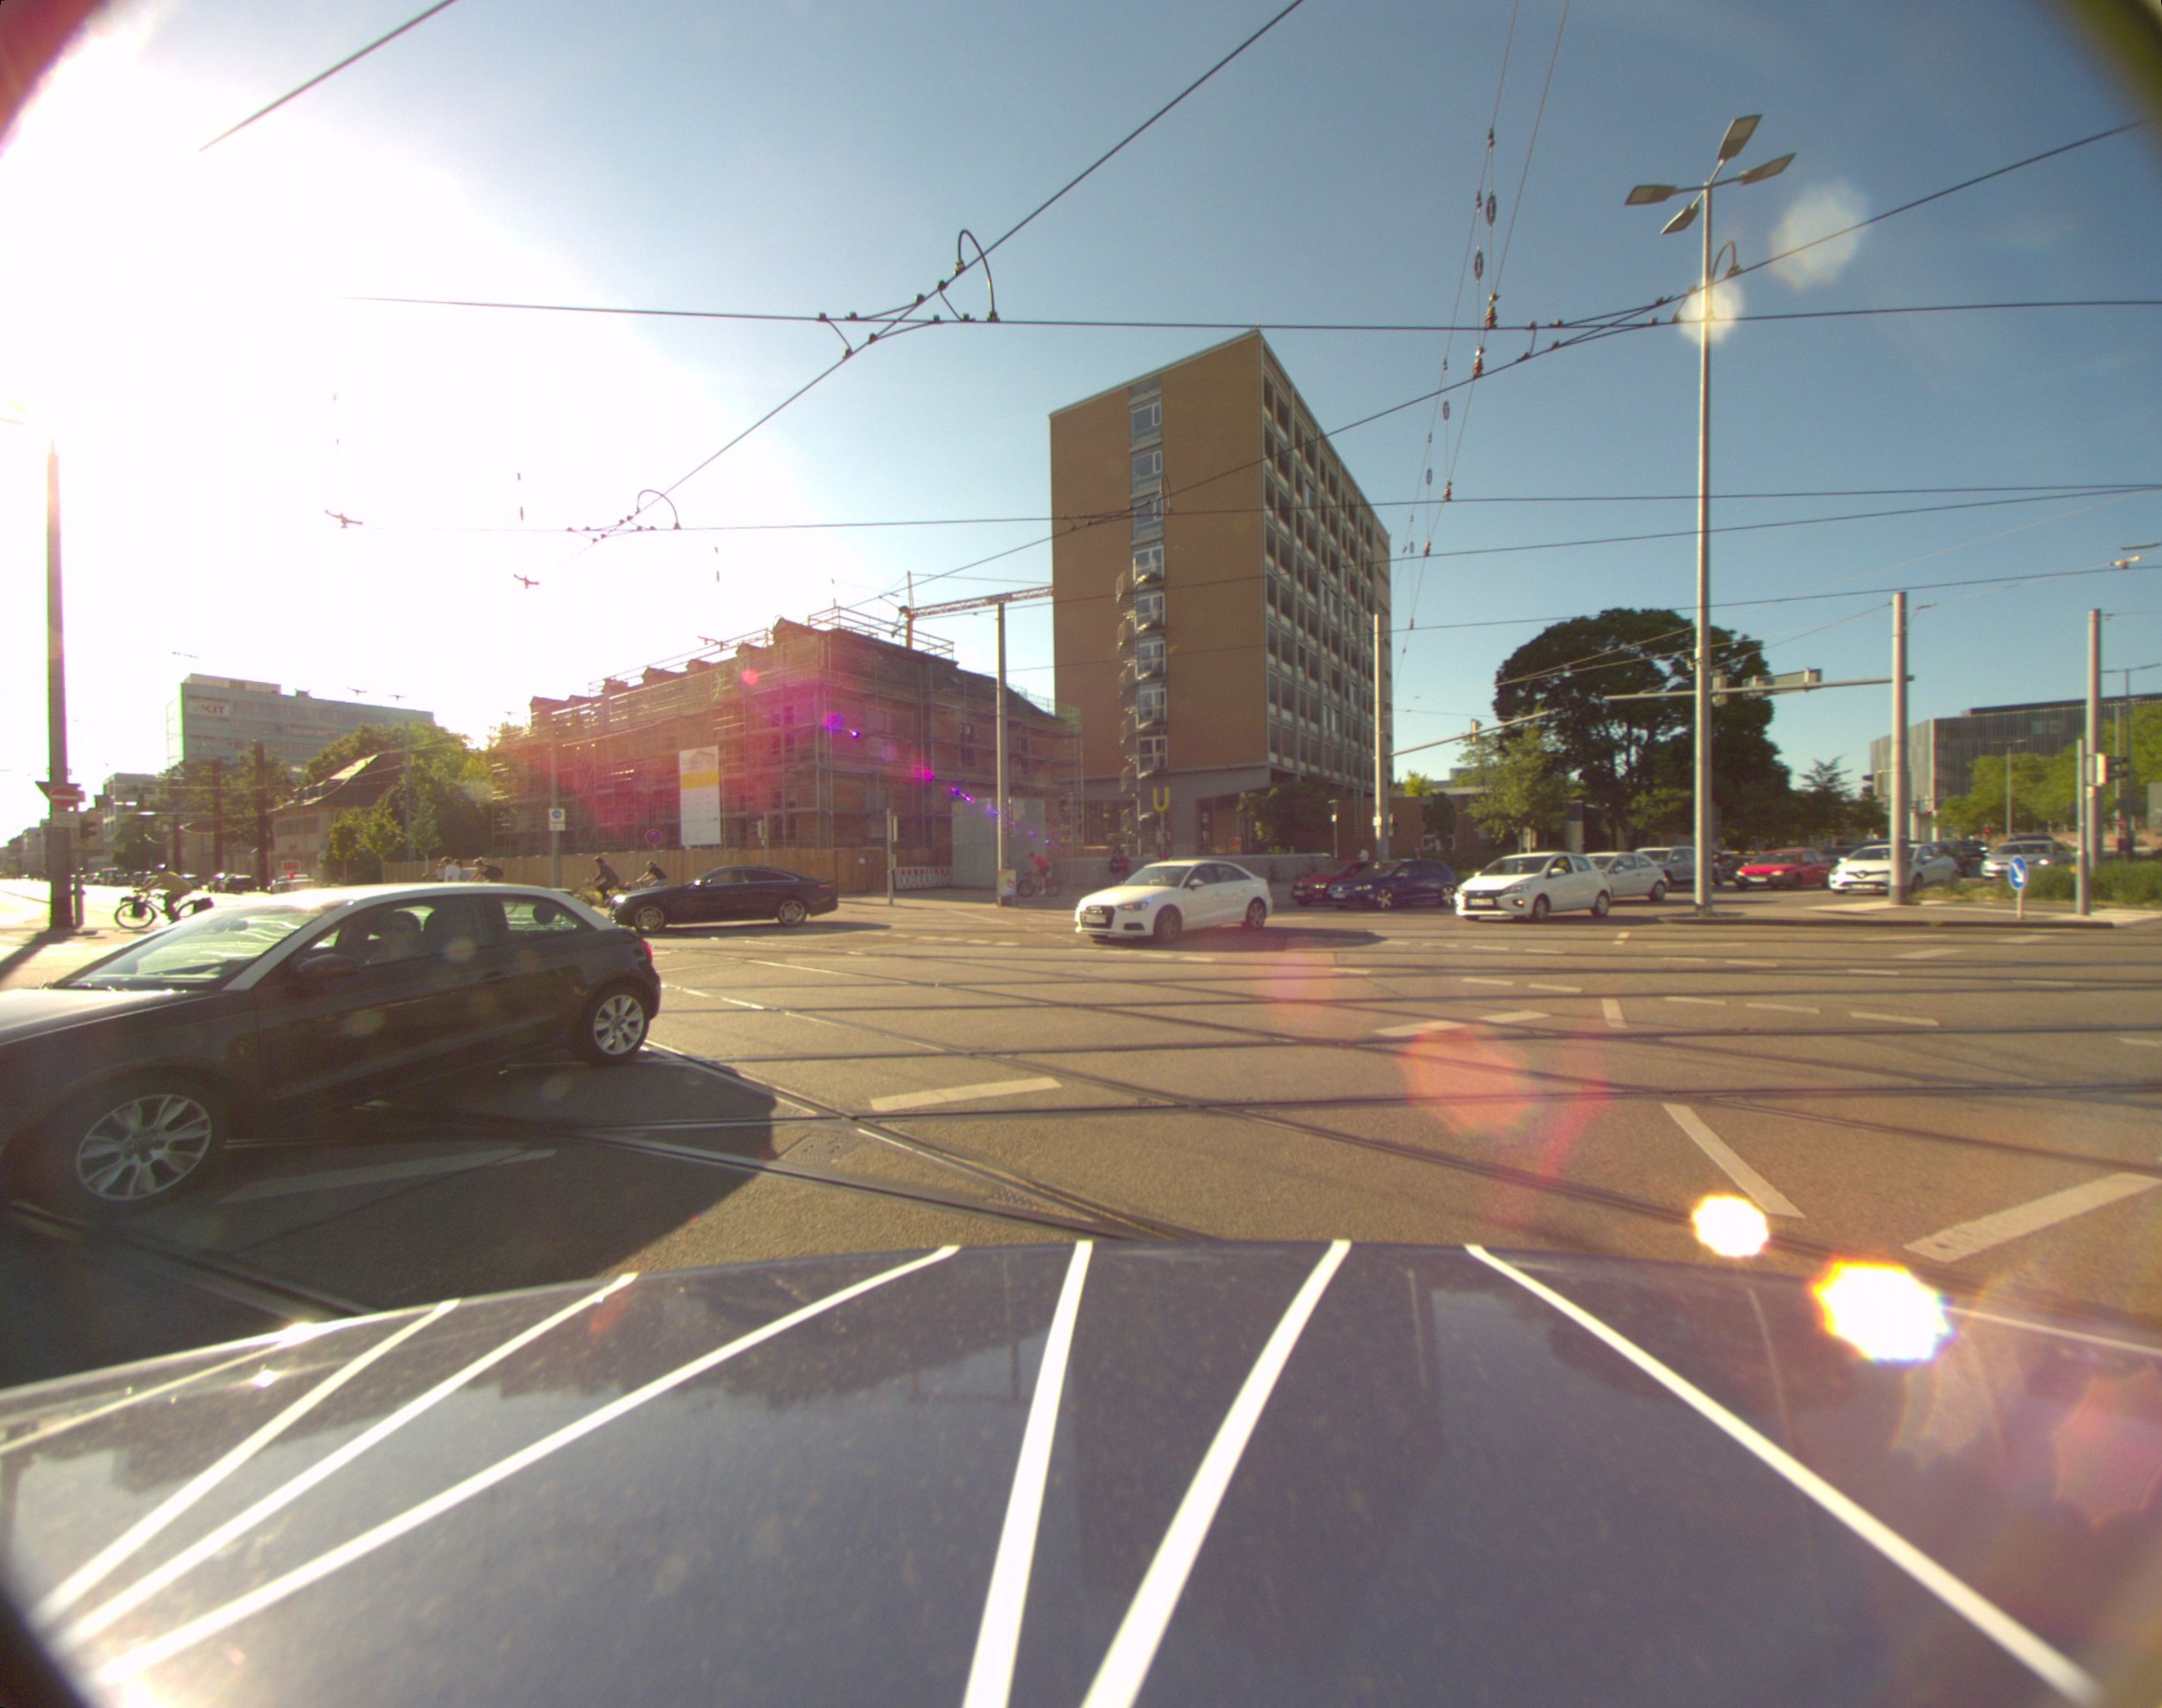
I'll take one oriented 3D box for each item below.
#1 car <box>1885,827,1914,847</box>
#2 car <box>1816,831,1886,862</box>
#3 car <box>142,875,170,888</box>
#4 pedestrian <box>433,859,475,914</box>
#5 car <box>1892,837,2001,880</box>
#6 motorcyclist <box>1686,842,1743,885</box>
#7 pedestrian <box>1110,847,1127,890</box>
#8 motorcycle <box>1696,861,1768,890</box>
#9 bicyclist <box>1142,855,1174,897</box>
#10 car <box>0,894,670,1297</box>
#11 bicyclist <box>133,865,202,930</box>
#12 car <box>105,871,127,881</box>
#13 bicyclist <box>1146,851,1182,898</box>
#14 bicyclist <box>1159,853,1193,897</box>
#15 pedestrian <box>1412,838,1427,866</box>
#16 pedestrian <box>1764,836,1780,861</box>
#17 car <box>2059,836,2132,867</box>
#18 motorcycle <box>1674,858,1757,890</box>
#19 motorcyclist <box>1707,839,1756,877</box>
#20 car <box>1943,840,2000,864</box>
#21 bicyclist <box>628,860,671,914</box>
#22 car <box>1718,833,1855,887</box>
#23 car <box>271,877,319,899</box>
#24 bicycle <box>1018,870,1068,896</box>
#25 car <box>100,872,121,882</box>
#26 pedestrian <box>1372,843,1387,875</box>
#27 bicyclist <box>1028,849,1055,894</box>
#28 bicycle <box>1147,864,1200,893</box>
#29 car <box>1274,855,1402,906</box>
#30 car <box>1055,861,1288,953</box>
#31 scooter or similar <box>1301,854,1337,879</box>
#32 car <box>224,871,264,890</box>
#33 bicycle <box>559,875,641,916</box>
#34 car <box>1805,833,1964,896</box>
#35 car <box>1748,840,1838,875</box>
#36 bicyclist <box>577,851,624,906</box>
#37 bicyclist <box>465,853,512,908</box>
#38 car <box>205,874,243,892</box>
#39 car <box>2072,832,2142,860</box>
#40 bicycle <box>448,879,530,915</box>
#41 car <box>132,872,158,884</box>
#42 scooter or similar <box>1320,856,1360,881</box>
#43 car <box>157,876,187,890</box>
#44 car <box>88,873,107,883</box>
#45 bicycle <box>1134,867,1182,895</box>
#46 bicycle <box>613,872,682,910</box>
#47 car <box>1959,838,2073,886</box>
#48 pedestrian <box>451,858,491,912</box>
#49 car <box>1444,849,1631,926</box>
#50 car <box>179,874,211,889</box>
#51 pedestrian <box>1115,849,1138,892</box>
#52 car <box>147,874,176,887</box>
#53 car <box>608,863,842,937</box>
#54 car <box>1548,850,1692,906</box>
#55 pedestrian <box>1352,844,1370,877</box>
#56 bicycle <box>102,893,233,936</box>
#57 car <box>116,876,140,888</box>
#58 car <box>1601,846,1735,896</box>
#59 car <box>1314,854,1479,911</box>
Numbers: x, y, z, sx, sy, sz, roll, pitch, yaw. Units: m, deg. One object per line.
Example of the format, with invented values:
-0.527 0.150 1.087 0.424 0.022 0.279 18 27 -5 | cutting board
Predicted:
120.648 -2.530 112.070 2.147 2.850 4.980 -1 1 38 | car
44.371 -0.450 43.765 4.006 1.718 1.819 -1 0 -29 | car
-114.324 3.441 93.925 4.008 1.455 1.760 -3 0 34 | car
-21.271 1.098 25.789 0.819 1.837 0.691 -2 -2 3 | pedestrian
36.849 0.173 32.347 4.005 1.673 1.997 -1 -2 -26 | car
25.548 0.401 30.656 1.456 1.657 1.116 -1 -2 -22 | motorcyclist
1.530 0.569 31.073 0.622 1.730 0.665 0 2 -1 | pedestrian
30.066 0.990 35.102 3.236 1.187 1.116 -1 -2 -22 | motorcycle
2.992 0.844 29.494 1.019 1.579 0.692 -2 4 -36 | bicyclist
-4.661 1.042 4.481 1.692 1.380 3.836 -1 0 16 | car
-24.508 1.156 20.403 0.976 1.685 0.766 -1 -1 -30 | bicyclist
-148.705 3.375 117.085 4.008 1.455 1.760 -3 0 34 | car
2.950 0.707 26.912 1.018 1.579 0.692 -1 4 -24 | bicyclist
3.563 0.780 28.501 1.018 1.579 0.692 -1 4 -30 | bicyclist
19.511 -0.118 43.820 0.505 1.625 0.572 -1 -2 -36 | pedestrian
47.244 -0.355 51.930 0.593 1.651 0.564 -1 -2 -29 | pedestrian
58.572 -0.176 43.860 4.289 1.666 1.995 -1 1 -29 | car
25.610 0.809 30.669 3.236 1.187 1.116 -1 -2 -22 | motorcycle
30.084 0.194 35.142 1.456 1.657 1.116 -1 -2 -22 | motorcyclist
69.259 -0.160 59.076 4.714 1.673 1.996 -1 -2 -30 | car
-13.575 1.040 23.912 0.974 1.651 0.648 -2 -2 -3 | bicyclist
24.287 0.208 26.172 4.005 1.673 1.997 -1 -2 -24 | car
-58.022 2.519 56.058 4.008 1.455 1.760 -3 0 34 | car
-1.494 1.139 29.654 1.880 0.965 0.711 1 3 -7 | bicycle
-162.208 3.873 126.991 4.008 1.455 1.760 -3 0 34 | car
15.378 0.250 39.157 0.505 1.625 0.426 -1 -2 -36 | pedestrian
-1.546 0.684 29.619 1.017 1.699 0.693 0 3 -7 | bicyclist
3.471 0.904 28.455 1.883 0.965 0.710 -1 4 -30 | bicycle
8.606 0.841 25.388 4.024 1.455 1.752 -3 1 -29 | car
1.830 0.862 14.247 4.466 1.380 1.821 -1 0 -42 | car
12.333 0.645 39.392 1.704 1.239 0.801 -3 -2 19 | scooter or similar
-73.662 2.339 66.849 4.008 1.455 1.760 -3 0 34 | car
-14.032 1.213 22.204 1.903 1.116 0.648 -2 -2 -13 | bicycle
23.813 0.258 22.508 4.288 1.666 1.996 -1 1 -25 | car
37.461 0.193 39.956 4.714 1.673 1.996 -1 -2 -28 | car
-14.040 0.722 22.219 0.975 1.559 0.648 -2 -2 -13 | bicyclist
-18.551 0.824 23.814 0.976 1.685 0.647 -1 -1 -19 | bicyclist
-78.761 2.634 69.783 4.008 1.455 1.760 -3 0 34 | car
67.185 -0.548 49.747 4.714 1.673 1.996 -1 -2 -28 | car
-18.519 1.335 23.828 1.909 1.021 0.647 -1 -1 -19 | bicycle
-122.004 3.117 99.070 4.008 1.455 1.760 -3 0 34 | car
13.703 0.770 40.243 1.827 1.239 0.800 -2 -2 5 | scooter or similar
-103.670 3.298 86.624 4.008 1.455 1.760 -3 0 34 | car
-175.979 4.293 135.905 4.008 1.455 1.760 -3 0 34 | car
3.000 1.034 29.505 1.883 0.965 0.710 -1 4 -37 | bicycle
-13.621 1.166 23.901 1.775 1.116 0.648 -2 -2 -3 | bicycle
35.094 0.261 28.518 4.289 1.666 1.995 -1 1 -29 | car
-21.333 1.087 26.570 0.819 1.837 0.691 -2 -2 3 | pedestrian
10.080 0.682 16.744 3.876 1.483 1.718 -1 -1 -27 | car
-94.495 2.915 81.040 4.008 1.455 1.760 -3 0 34 | car
1.899 0.678 31.528 0.734 1.730 0.620 -1 2 -32 | pedestrian
-110.301 3.190 91.134 4.008 1.455 1.760 -3 0 34 | car
-8.054 0.969 17.559 4.660 1.484 1.814 0 1 -24 | car
15.705 0.636 22.119 3.921 1.455 1.780 -1 1 -26 | car
14.396 0.343 39.059 0.624 1.701 0.486 -2 -2 -9 | pedestrian
-24.461 1.590 20.417 2.109 1.021 0.766 -1 -1 -30 | bicycle
-139.067 4.125 110.856 4.008 1.596 1.760 -3 0 34 | car
21.458 0.636 27.802 4.004 1.596 1.998 -2 -3 -21 | car
9.420 0.815 22.680 4.659 1.483 1.814 -1 -1 -24 | car
